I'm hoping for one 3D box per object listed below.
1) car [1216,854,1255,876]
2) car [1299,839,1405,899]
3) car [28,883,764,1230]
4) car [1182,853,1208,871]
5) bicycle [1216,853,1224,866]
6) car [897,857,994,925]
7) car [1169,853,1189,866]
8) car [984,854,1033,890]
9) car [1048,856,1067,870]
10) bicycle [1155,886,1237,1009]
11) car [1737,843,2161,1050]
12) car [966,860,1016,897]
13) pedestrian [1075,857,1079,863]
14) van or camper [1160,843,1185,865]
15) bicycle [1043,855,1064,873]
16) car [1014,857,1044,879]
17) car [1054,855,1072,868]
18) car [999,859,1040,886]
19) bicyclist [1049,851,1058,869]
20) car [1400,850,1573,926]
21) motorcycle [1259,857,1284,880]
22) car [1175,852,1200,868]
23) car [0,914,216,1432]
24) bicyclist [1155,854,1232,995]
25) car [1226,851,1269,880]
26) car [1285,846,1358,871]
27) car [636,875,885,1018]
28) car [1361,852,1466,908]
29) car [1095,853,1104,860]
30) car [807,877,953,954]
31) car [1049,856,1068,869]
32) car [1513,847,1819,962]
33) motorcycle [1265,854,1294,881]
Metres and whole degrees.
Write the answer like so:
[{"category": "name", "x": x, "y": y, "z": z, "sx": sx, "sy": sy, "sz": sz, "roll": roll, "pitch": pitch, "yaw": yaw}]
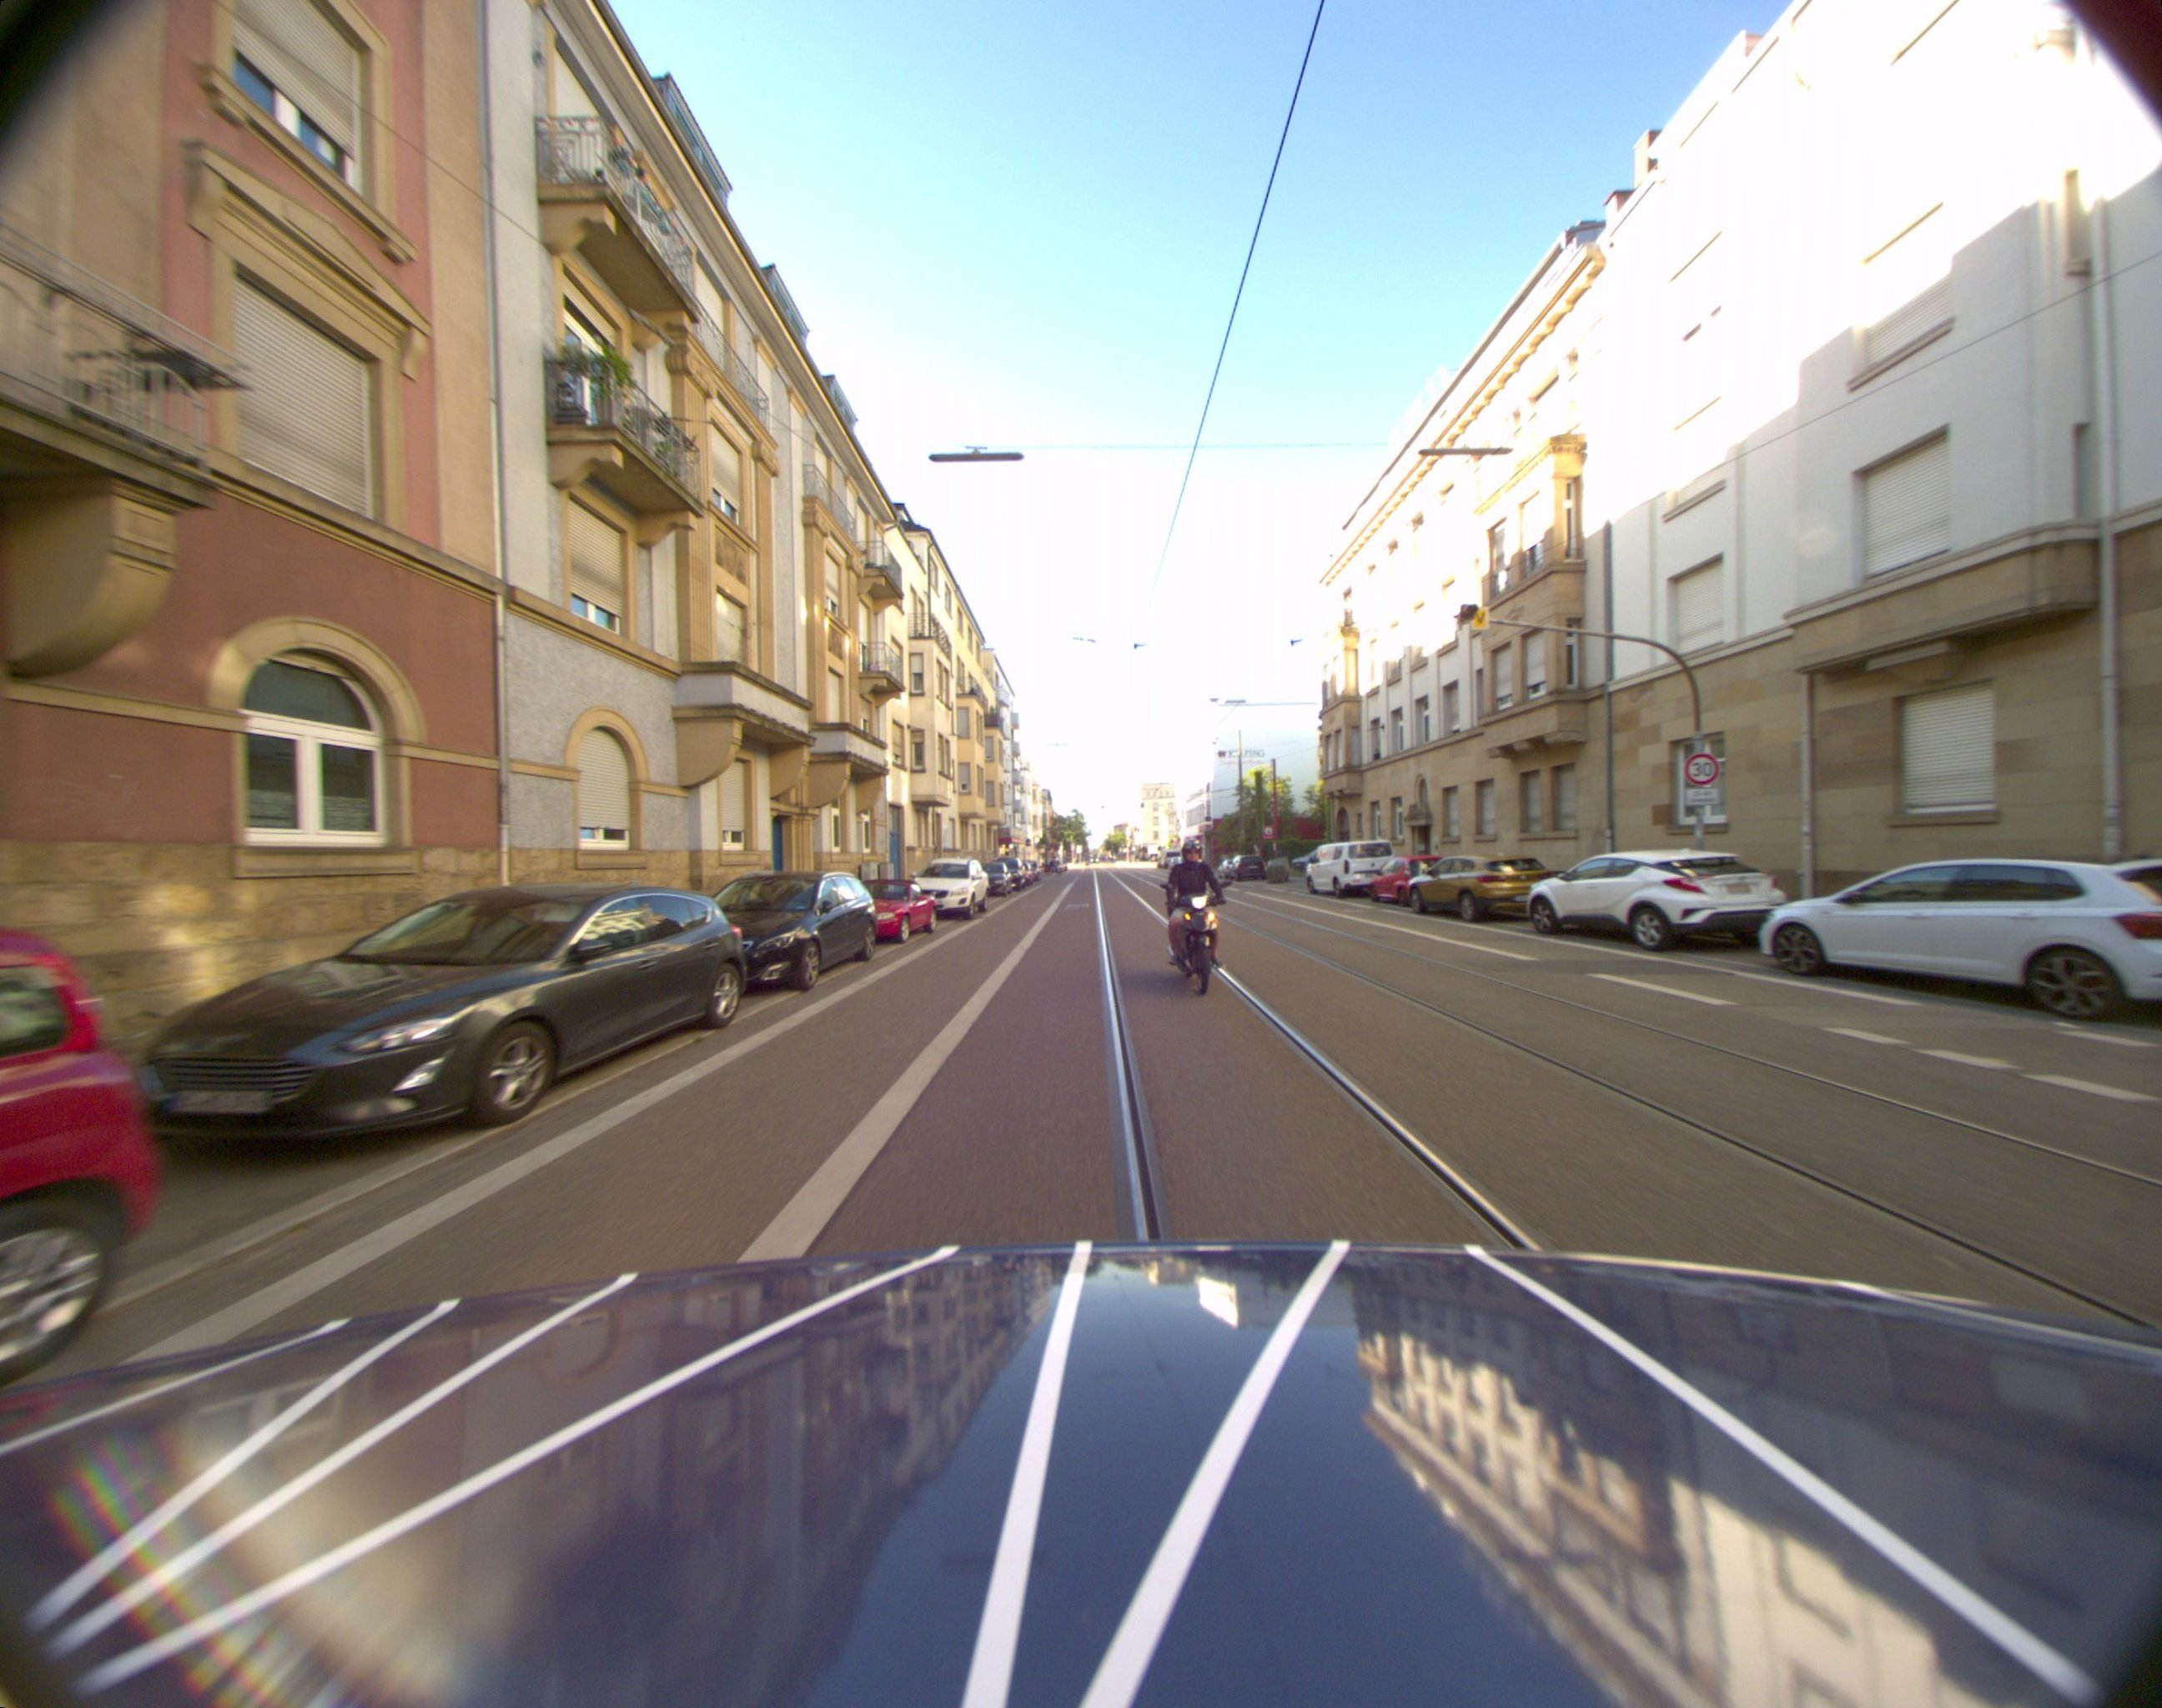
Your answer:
[{"category": "car", "x": 10.479, "y": 0.727, "z": 51.759, "sx": 1.787, "sy": 1.306, "sz": 4.221, "roll": -3, "pitch": 0, "yaw": 1}, {"category": "car", "x": 9.899, "y": 0.491, "z": 28.251, "sx": 1.978, "sy": 1.937, "sz": 5.251, "roll": -3, "pitch": 0, "yaw": 0}, {"category": "car", "x": -4.319, "y": 1.094, "z": 5.993, "sx": 1.658, "sy": 1.504, "sz": 4.474, "roll": -1, "pitch": 0, "yaw": 1}, {"category": "car", "x": 10.571, "y": 0.717, "z": 70.814, "sx": 1.787, "sy": 1.437, "sz": 4.842, "roll": -3, "pitch": 0, "yaw": 1}, {"category": "bicycle", "x": 13.619, "y": 0.516, "z": 74.436, "sx": 0.440, "sy": 1.168, "sz": 2.050, "roll": -2, "pitch": 1, "yaw": 2}, {"category": "car", "x": -3.765, "y": 0.968, "z": 21.946, "sx": 1.847, "sy": 1.681, "sz": 4.505, "roll": -1, "pitch": 0, "yaw": 1}, {"category": "car", "x": 10.995, "y": 0.603, "z": 85.632, "sx": 1.787, "sy": 1.390, "sz": 4.445, "roll": -3, "pitch": 0, "yaw": 2}, {"category": "car", "x": -3.640, "y": 0.883, "z": 39.136, "sx": 1.863, "sy": 1.656, "sz": 4.562, "roll": -1, "pitch": 0, "yaw": 2}, {"category": "car", "x": -2.572, "y": 0.933, "z": 82.611, "sx": 1.714, "sy": 1.399, "sz": 4.358, "roll": 1, "pitch": 0, "yaw": 2}, {"category": "bicycle", "x": 1.289, "y": 1.021, "z": 8.823, "sx": 0.767, "sy": 1.191, "sz": 1.752, "roll": -1, "pitch": 0, "yaw": 3}, {"category": "car", "x": 9.622, "y": 0.742, "z": 7.971, "sx": 1.788, "sy": 1.612, "sz": 4.179, "roll": -3, "pitch": 0, "yaw": -1}, {"category": "car", "x": -3.865, "y": 1.016, "z": 33.099, "sx": 1.742, "sy": 1.433, "sz": 4.032, "roll": -1, "pitch": 0, "yaw": -1}, {"category": "pedestrian", "x": -0.737, "y": 1.124, "z": 149.530, "sx": 0.774, "sy": 1.197, "sz": 0.610, "roll": -1, "pitch": 1, "yaw": -7}, {"category": "van or camper", "x": 11.086, "y": 0.033, "z": 92.693, "sx": 2.177, "sy": 2.453, "sz": 6.232, "roll": -3, "pitch": 0, "yaw": 0}, {"category": "bicycle", "x": -2.613, "y": 0.934, "z": 73.133, "sx": 1.935, "sy": 1.700, "sz": 0.775, "roll": -2, "pitch": 1, "yaw": 1}, {"category": "car", "x": -3.626, "y": 0.968, "z": 53.822, "sx": 1.722, "sy": 1.482, "sz": 4.002, "roll": 0, "pitch": 0, "yaw": 1}, {"category": "car", "x": -2.202, "y": 0.945, "z": 93.131, "sx": 1.861, "sy": 1.498, "sz": 4.096, "roll": 1, "pitch": 0, "yaw": 2}, {"category": "car", "x": -3.615, "y": 1.054, "z": 45.493, "sx": 1.863, "sy": 1.447, "sz": 4.710, "roll": -1, "pitch": 0, "yaw": 2}, {"category": "bicyclist", "x": -2.660, "y": 0.600, "z": 73.150, "sx": 0.845, "sy": 1.692, "sz": 0.510, "roll": -2, "pitch": 1, "yaw": 1}, {"category": "car", "x": 9.501, "y": 0.717, "z": 18.257, "sx": 1.788, "sy": 1.515, "sz": 4.360, "roll": -3, "pitch": 0, "yaw": 0}, {"category": "motorcycle", "x": 10.523, "y": 0.778, "z": 41.908, "sx": 0.740, "sy": 1.164, "sz": 2.184, "roll": -1, "pitch": 0, "yaw": 31}, {"category": "car", "x": 10.692, "y": 0.626, "z": 76.597, "sx": 1.787, "sy": 1.472, "sz": 4.699, "roll": -3, "pitch": 0, "yaw": 1}, {"category": "car", "x": -4.353, "y": 1.053, "z": 1.127, "sx": 1.757, "sy": 1.585, "sz": 3.730, "roll": -1, "pitch": 0, "yaw": 2}, {"category": "bicyclist", "x": 1.276, "y": 0.780, "z": 8.802, "sx": 0.774, "sy": 1.531, "sz": 0.939, "roll": -1, "pitch": 1, "yaw": 3}, {"category": "car", "x": 10.187, "y": 0.664, "z": 46.714, "sx": 1.787, "sy": 1.556, "sz": 4.611, "roll": -3, "pitch": 0, "yaw": 3}, {"category": "car", "x": 16.157, "y": 0.275, "z": 51.055, "sx": 4.804, "sy": 1.509, "sz": 1.995, "roll": -2, "pitch": 0, "yaw": -32}, {"category": "car", "x": -4.248, "y": 1.119, "z": 10.945, "sx": 1.658, "sy": 1.474, "sz": 4.474, "roll": -1, "pitch": 0, "yaw": 0}, {"category": "car", "x": 9.962, "y": 0.727, "z": 23.042, "sx": 1.606, "sy": 1.464, "sz": 3.646, "roll": -3, "pitch": 0, "yaw": 1}, {"category": "car", "x": 4.478, "y": 0.640, "z": 184.736, "sx": 1.970, "sy": 1.577, "sz": 4.000, "roll": -1, "pitch": 0, "yaw": 1}, {"category": "car", "x": -4.113, "y": 1.206, "z": 16.345, "sx": 1.658, "sy": 1.242, "sz": 4.505, "roll": -1, "pitch": 0, "yaw": 4}, {"category": "car", "x": -2.581, "y": 0.959, "z": 87.930, "sx": 1.861, "sy": 1.464, "sz": 3.989, "roll": 1, "pitch": 0, "yaw": 2}, {"category": "car", "x": 9.556, "y": 0.711, "z": 12.975, "sx": 1.776, "sy": 1.538, "sz": 4.365, "roll": -3, "pitch": 0, "yaw": -1}, {"category": "motorcycle", "x": 10.452, "y": 0.711, "z": 39.971, "sx": 0.884, "sy": 1.343, "sz": 1.961, "roll": -1, "pitch": 1, "yaw": 34}]
